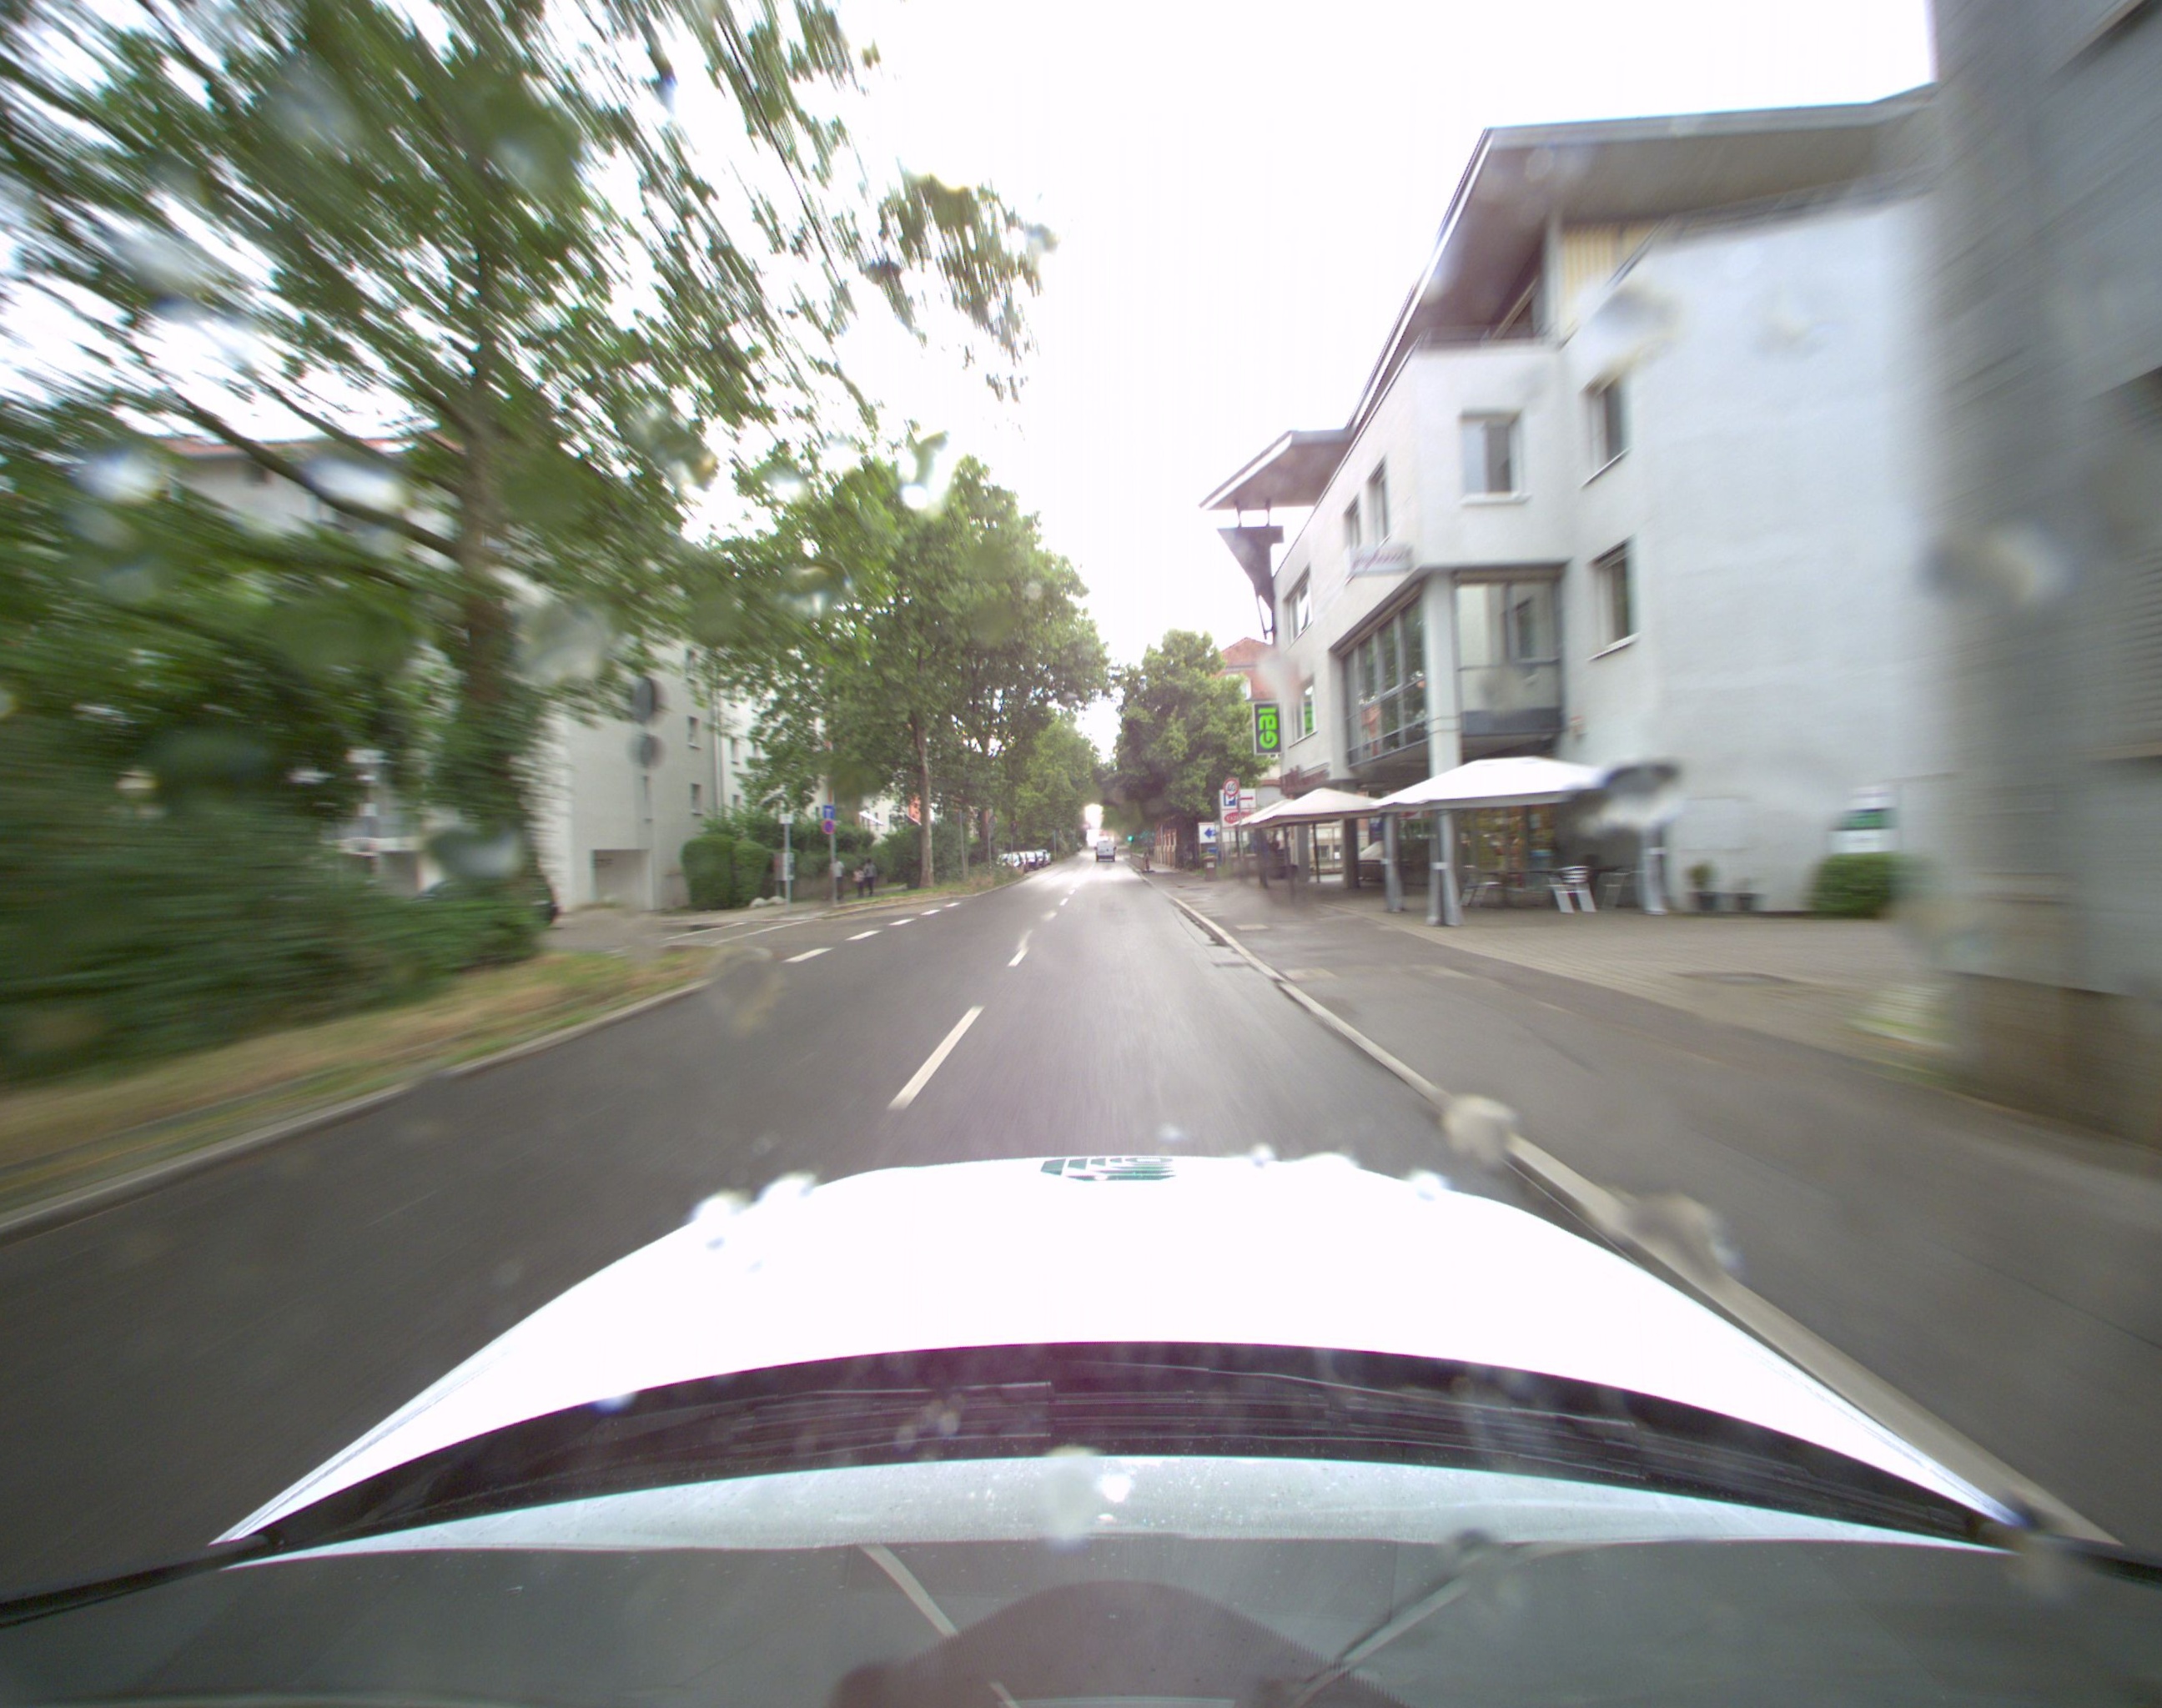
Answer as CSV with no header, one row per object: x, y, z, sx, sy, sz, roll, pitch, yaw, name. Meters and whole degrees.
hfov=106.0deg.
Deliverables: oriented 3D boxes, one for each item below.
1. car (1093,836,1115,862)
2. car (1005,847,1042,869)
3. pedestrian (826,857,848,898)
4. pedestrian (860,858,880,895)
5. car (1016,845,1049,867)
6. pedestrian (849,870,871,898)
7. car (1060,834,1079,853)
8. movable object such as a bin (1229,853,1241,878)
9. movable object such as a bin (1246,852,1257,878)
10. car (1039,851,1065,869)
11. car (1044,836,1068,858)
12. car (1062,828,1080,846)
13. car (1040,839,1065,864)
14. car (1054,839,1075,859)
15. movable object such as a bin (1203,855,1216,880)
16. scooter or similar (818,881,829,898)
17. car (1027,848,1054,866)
2.525,-0.504,87.511,2.274,2.553,4.001,-1,-2,2,car
-4.458,0.355,64.011,2.206,1.592,4.614,0,-2,4,car
-9.605,0.928,32.070,0.637,1.612,0.623,0,-2,-1,pedestrian
-8.987,0.954,34.714,0.679,1.571,0.623,0,-1,-1,pedestrian
-4.126,0.199,70.306,2.206,1.729,4.614,0,-2,4,car
-8.792,1.199,32.441,0.679,1.107,0.623,0,-2,-1,pedestrian
-1.546,-1.394,109.291,2.206,2.294,4.613,0,-2,4,car
6.556,0.498,34.668,0.399,1.067,0.358,-1,-2,-5,movable object such as a bin
7.244,0.467,34.676,0.356,1.067,0.358,0,-2,-4,movable object such as a bin
-2.925,0.637,82.876,2.206,1.691,4.614,0,-2,4,car
-2.838,-0.765,92.768,2.206,2.294,4.614,0,-2,4,car
-1.416,-2.454,117.003,2.206,2.294,4.614,0,-2,4,car
-3.048,-0.270,87.902,2.206,2.534,4.614,0,-2,4,car
-2.077,-0.623,103.240,2.206,2.294,4.614,0,-2,4,car
5.490,0.577,34.709,0.399,1.066,0.358,-5,-2,-5,movable object such as a bin
-10.089,1.398,31.943,0.306,0.681,0.388,0,-2,-1,scooter or similar
-3.799,0.313,76.732,1.986,1.543,4.614,0,-2,4,car
